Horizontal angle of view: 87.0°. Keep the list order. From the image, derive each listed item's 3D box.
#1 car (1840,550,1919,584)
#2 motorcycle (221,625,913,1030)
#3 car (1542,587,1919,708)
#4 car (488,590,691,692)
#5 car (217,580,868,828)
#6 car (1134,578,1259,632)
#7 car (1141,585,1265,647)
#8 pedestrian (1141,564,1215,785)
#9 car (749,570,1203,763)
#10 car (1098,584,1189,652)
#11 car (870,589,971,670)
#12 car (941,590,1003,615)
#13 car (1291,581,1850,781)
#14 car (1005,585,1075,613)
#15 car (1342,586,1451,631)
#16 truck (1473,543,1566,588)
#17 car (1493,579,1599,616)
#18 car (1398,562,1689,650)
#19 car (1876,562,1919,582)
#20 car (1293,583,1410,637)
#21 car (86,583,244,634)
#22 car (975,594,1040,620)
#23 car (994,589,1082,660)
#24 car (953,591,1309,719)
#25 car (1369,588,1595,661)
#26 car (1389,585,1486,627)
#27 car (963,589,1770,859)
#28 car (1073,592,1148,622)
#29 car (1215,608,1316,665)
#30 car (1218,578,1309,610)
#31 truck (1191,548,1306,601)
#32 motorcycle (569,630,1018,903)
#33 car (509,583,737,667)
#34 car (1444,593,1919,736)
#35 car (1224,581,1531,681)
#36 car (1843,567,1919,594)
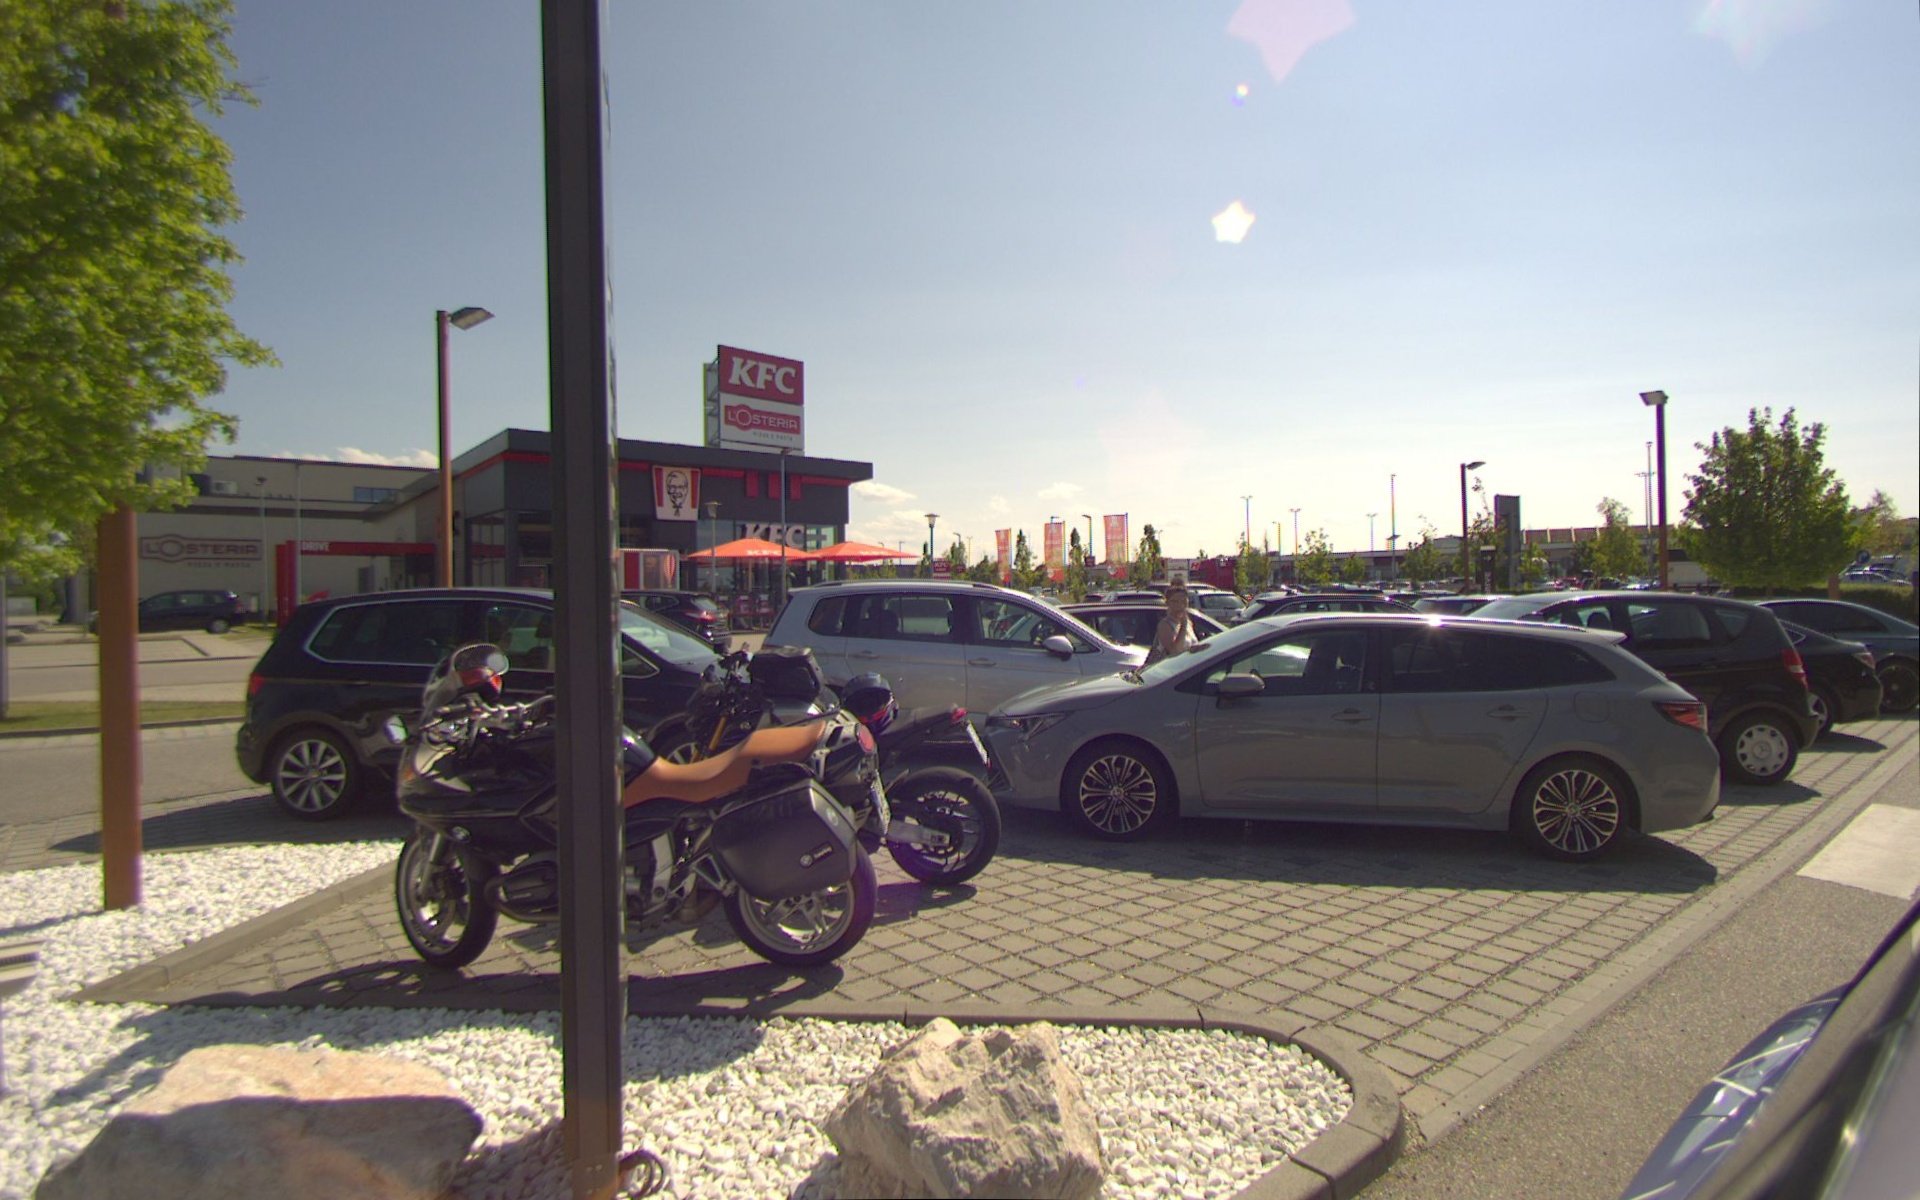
[{"bbox_3d":[66.987,-2.354,71.823,2.261,2.272,6.561,-1,1,-41],"label":"car"},{"bbox_3d":[-1.324,0.753,3.864,2.210,1.267,1.070,1,-1,1],"label":"motorcycle"},{"bbox_3d":[10.851,0.616,13.959,4.463,1.530,1.884,-1,0,6],"label":"car"},{"bbox_3d":[-5.884,0.563,16.639,1.809,1.443,4.186,-1,1,0],"label":"car"},{"bbox_3d":[-2.885,0.643,7.548,4.118,1.556,1.893,0,0,6],"label":"car"},{"bbox_3d":[8.272,0.132,35.208,4.290,1.772,2.070,-1,1,-40],"label":"car"},{"bbox_3d":[6.548,0.381,27.773,1.742,1.530,4.359,-1,1,-9],"label":"car"},{"bbox_3d":[1.780,0.580,8.281,0.555,1.734,0.608,-1,0,12],"label":"pedestrian"},{"bbox_3d":[0.167,0.572,9.779,3.995,1.660,1.746,0,0,5],"label":"car"},{"bbox_3d":[4.383,0.379,24.744,1.788,1.508,3.995,-1,1,5],"label":"car"},{"bbox_3d":[-0.783,0.530,21.263,1.878,1.490,4.473,-1,1,-1],"label":"car"},{"bbox_3d":[0.770,0.127,65.427,3.682,1.530,1.688,-1,0,-33],"label":"car"},{"bbox_3d":[5.266,0.664,9.241,3.930,1.613,1.809,-1,0,6],"label":"car"},{"bbox_3d":[4.561,-0.064,57.468,3.682,1.472,1.688,-1,0,-33],"label":"car"},{"bbox_3d":[14.806,0.255,34.577,1.762,1.440,4.089,-1,1,-3],"label":"car"},{"bbox_3d":[44.032,-2.686,79.997,2.373,3.393,7.577,-1,1,-7],"label":"truck"},{"bbox_3d":[34.528,-0.156,59.760,1.962,2.039,5.021,-2,1,-35],"label":"car"},{"bbox_3d":[10.950,0.106,19.291,4.339,1.530,1.981,-1,0,6],"label":"car"},{"bbox_3d":[65.389,-1.929,69.246,1.636,1.359,3.902,-1,1,-41],"label":"car"},{"bbox_3d":[12.288,0.279,32.041,1.770,1.576,4.060,-1,1,-6],"label":"car"},{"bbox_3d":[-28.165,0.264,35.923,4.310,1.706,1.638,-1,1,-43],"label":"car"},{"bbox_3d":[2.912,0.420,61.618,3.682,1.472,1.688,-1,0,-33],"label":"car"},{"bbox_3d":[1.666,0.488,22.650,1.787,1.420,3.998,-1,1,2],"label":"car"},{"bbox_3d":[1.976,0.613,12.422,4.008,1.426,1.792,0,0,4],"label":"car"},{"bbox_3d":[10.875,0.491,21.330,3.837,1.444,1.703,0,0,7],"label":"car"},{"bbox_3d":[17.529,0.188,37.343,1.878,1.440,3.773,-1,0,3],"label":"car"},{"bbox_3d":[2.393,0.693,6.910,4.582,1.465,1.832,1,0,7],"label":"car"},{"bbox_3d":[7.872,0.321,52.797,3.682,1.472,1.688,-1,0,-33],"label":"car"},{"bbox_3d":[8.848,0.999,29.708,1.681,1.428,4.680,-1,1,2],"label":"car"},{"bbox_3d":[14.200,-0.280,47.244,4.075,1.415,1.889,-1,1,-33],"label":"car"},{"bbox_3d":[22.377,-1.937,79.140,3.145,3.915,9.141,-1,1,-29],"label":"truck"},{"bbox_3d":[-0.796,0.795,5.182,2.099,1.247,0.821,0,-1,-2],"label":"motorcycle"},{"bbox_3d":[-6.735,0.482,20.460,4.015,1.596,1.754,-1,0,6],"label":"car"},{"bbox_3d":[7.964,0.682,11.523,4.004,1.467,1.826,-1,0,6],"label":"car"},{"bbox_3d":[6.827,0.490,17.000,4.339,1.530,1.981,-1,0,6],"label":"car"},{"bbox_3d":[60.965,-1.265,66.741,1.863,1.749,3.989,-1,1,-44],"label":"car"}]
